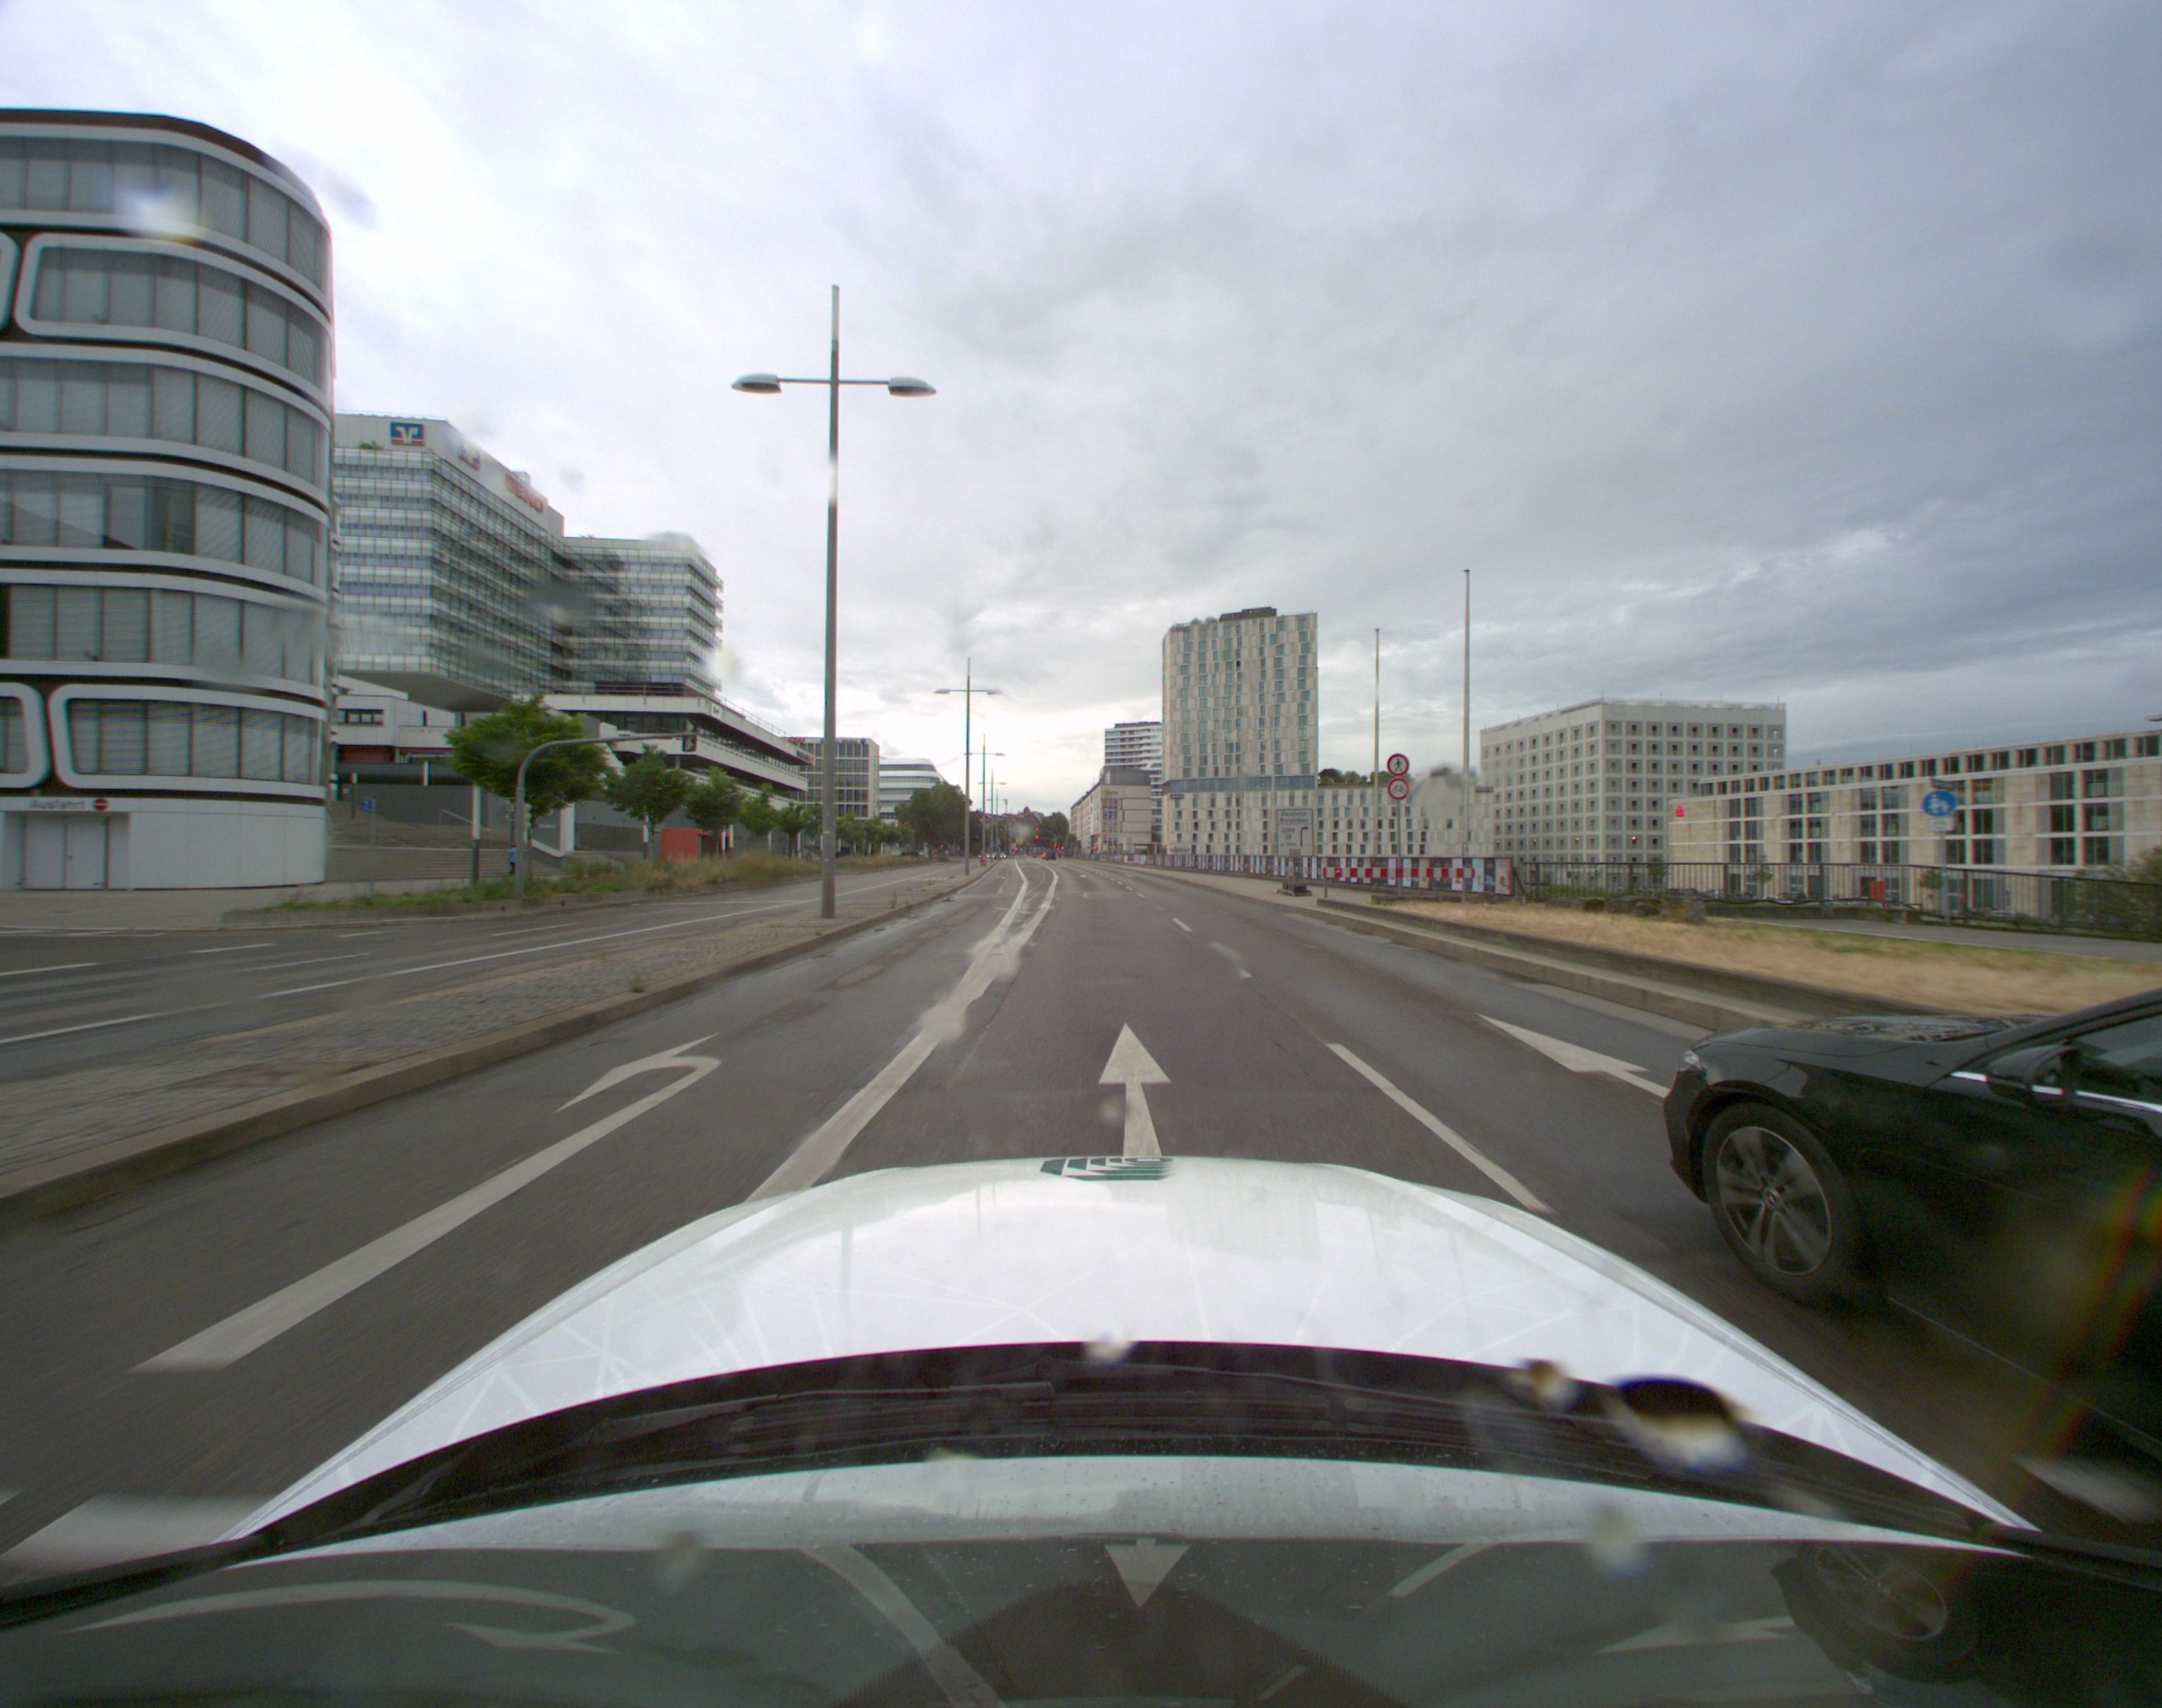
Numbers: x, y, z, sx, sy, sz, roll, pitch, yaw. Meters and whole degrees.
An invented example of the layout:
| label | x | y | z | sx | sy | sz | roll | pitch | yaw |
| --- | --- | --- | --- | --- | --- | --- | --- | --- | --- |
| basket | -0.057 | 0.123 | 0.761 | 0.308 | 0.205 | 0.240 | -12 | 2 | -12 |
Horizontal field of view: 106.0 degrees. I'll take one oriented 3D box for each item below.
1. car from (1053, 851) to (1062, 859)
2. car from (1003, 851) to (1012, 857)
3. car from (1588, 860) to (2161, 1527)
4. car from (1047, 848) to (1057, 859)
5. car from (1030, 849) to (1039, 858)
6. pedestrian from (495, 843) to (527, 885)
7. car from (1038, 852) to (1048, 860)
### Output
| label | x | y | z | sx | sy | sz | roll | pitch | yaw |
| --- | --- | --- | --- | --- | --- | --- | --- | --- | --- |
| car | -5.934 | 0.261 | 205.264 | 1.984 | 1.815 | 4.006 | -1 | 1 | 5 |
| car | -20.932 | 0.012 | 232.647 | 1.986 | 1.782 | 4.001 | -1 | 1 | 1 |
| car | 3.290 | 0.743 | 1.741 | 1.866 | 1.436 | 4.206 | -1 | 0 | 1 |
| car | -6.241 | -0.038 | 176.931 | 1.986 | 2.343 | 4.001 | 0 | 0 | 1 |
| car | -11.856 | -0.094 | 207.664 | 1.986 | 2.013 | 4.001 | -1 | 1 | 1 |
| pedestrian | -28.319 | 0.480 | 40.479 | 1.026 | 2.013 | 0.716 | -1 | 1 | 0 |
| car | -9.368 | 0.401 | 202.928 | 1.984 | 1.815 | 4.006 | -1 | 1 | 5 |
